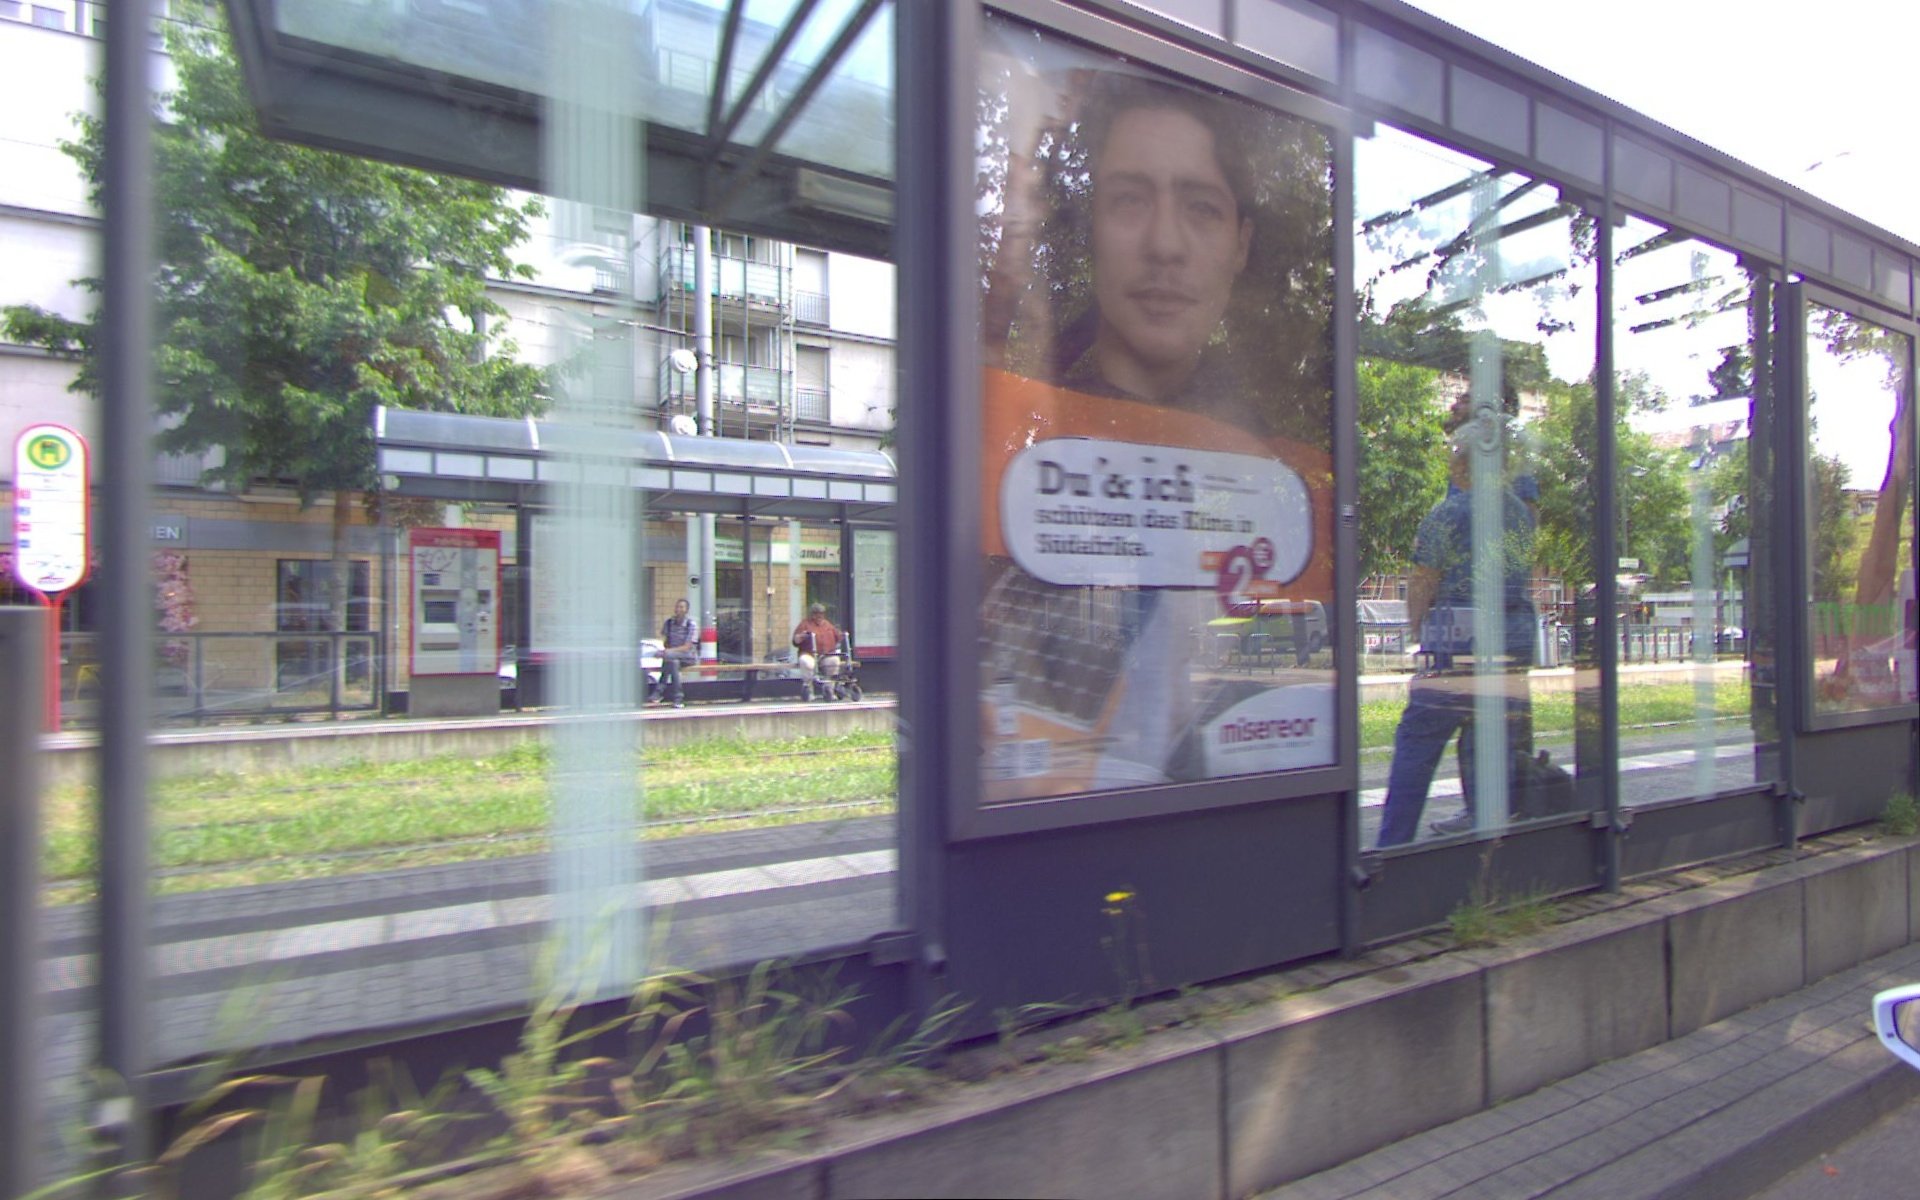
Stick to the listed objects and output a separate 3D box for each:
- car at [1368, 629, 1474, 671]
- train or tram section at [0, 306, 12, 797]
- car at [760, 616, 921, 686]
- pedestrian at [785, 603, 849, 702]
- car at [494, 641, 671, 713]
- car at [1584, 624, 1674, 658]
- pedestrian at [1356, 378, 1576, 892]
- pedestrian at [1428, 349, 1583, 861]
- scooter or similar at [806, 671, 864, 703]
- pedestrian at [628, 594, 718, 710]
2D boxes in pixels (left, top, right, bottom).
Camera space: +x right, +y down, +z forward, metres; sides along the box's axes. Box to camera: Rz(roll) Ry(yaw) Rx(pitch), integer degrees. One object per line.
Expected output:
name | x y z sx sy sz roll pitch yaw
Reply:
car | 16.196 1.731 35.284 3.435 1.389 1.712 0 -2 -30
train or tram section | -12.123 -0.430 3.214 12.859 3.631 2.711 1 -1 -30
car | -2.972 1.236 25.071 3.647 1.630 1.711 0 -2 -30
pedestrian | -1.842 0.670 12.904 0.611 1.229 0.661 0 -3 -30
car | -8.252 1.631 21.987 3.435 1.389 1.712 0 -2 -30
car | 28.258 1.704 42.424 3.660 1.389 1.711 0 -2 -30
pedestrian | 1.798 0.119 3.590 0.531 1.663 0.468 0 -1 -30
pedestrian | 2.250 0.024 4.136 0.464 1.925 0.535 -1 -2 36
scooter or similar | -1.545 1.070 12.409 0.611 0.371 0.407 0 -3 -30
pedestrian | -3.439 0.619 12.006 0.868 1.318 0.826 0 -3 -30
